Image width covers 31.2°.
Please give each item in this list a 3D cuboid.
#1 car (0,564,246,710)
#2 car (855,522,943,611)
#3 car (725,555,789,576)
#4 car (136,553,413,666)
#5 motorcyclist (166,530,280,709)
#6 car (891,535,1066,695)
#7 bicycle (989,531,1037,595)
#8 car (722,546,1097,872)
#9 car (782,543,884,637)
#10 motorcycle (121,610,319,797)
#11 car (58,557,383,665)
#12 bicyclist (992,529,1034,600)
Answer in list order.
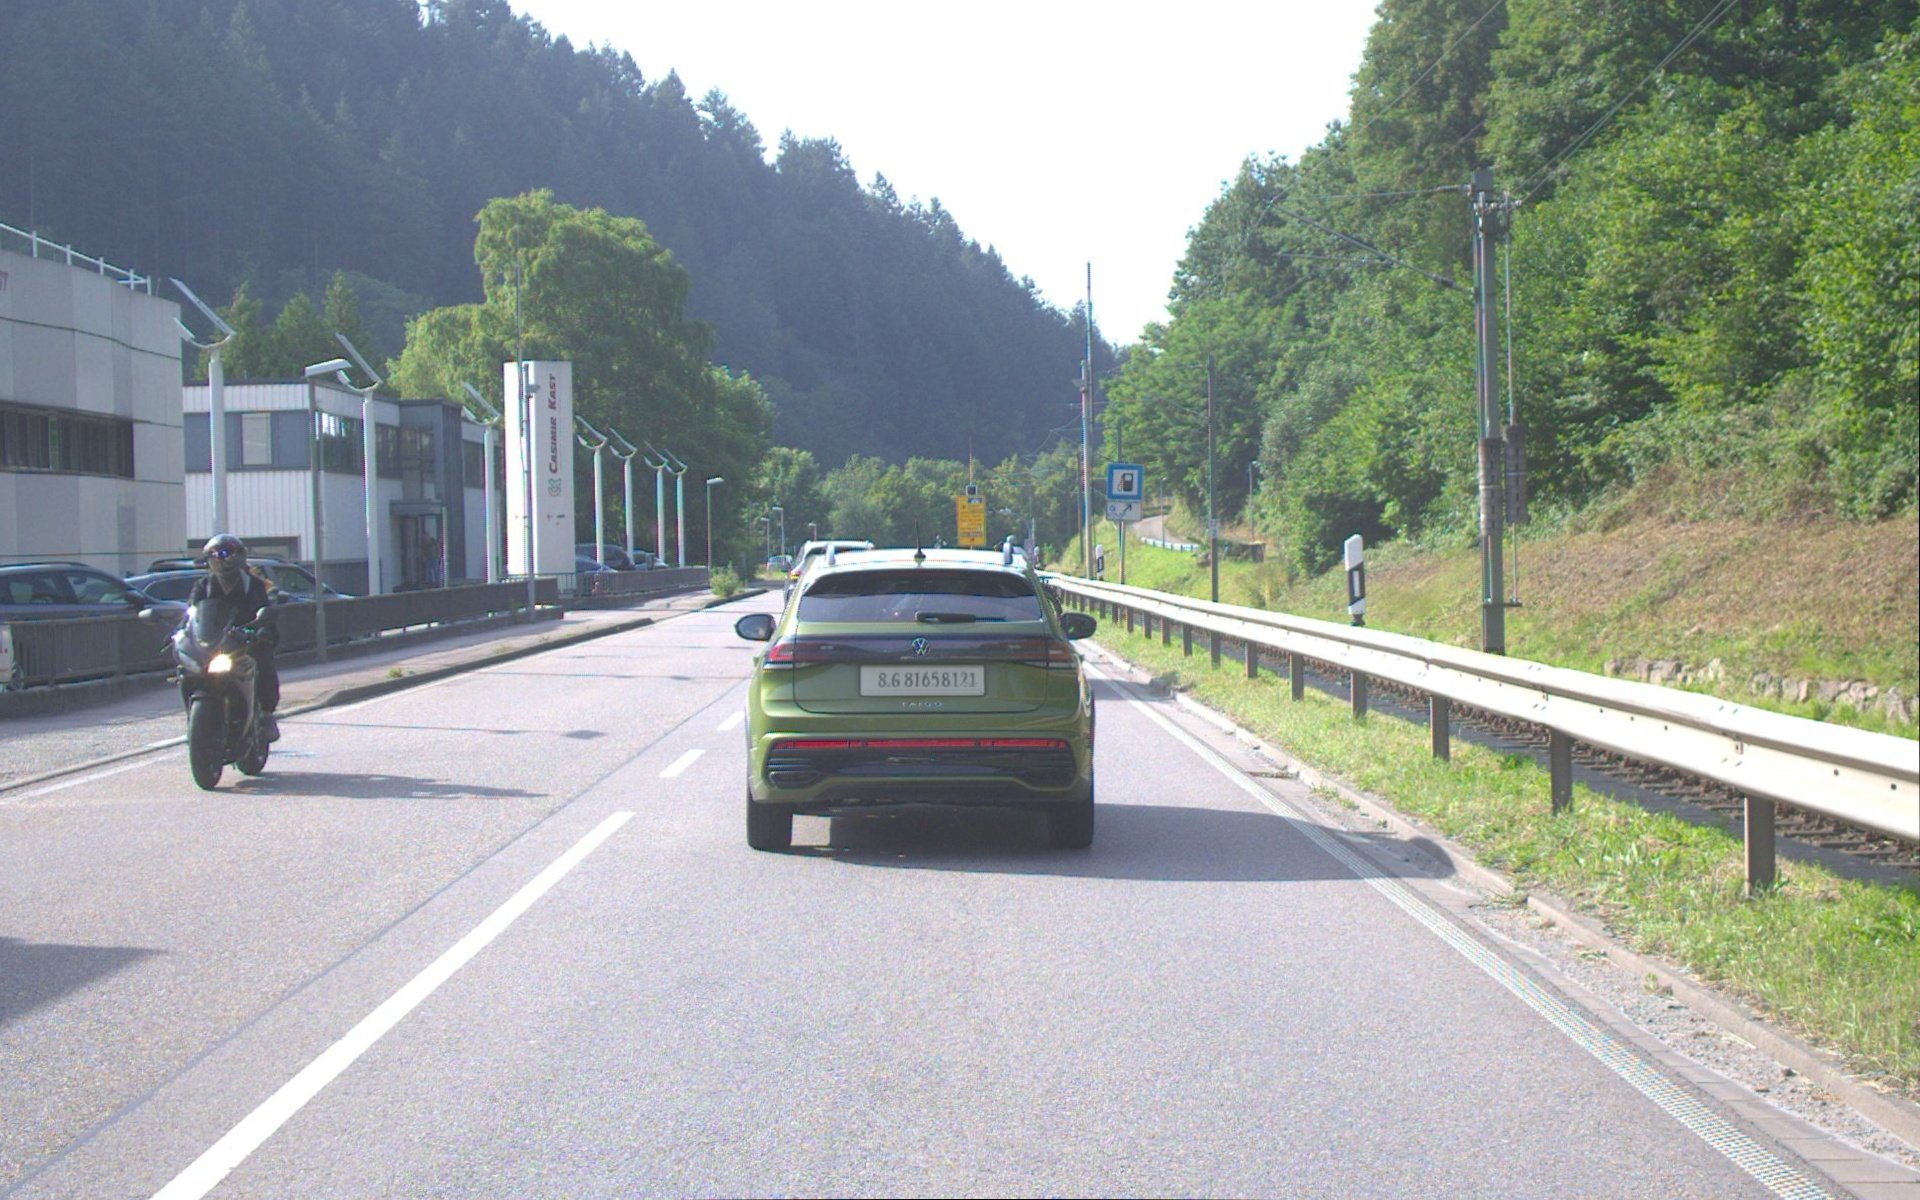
[{"bbox_3d":[-10.579,0.401,39.932,1.887,1.586,4.165,0,1,41],"label":"car"},{"bbox_3d":[-1.415,-0.803,80.755,1.993,2.007,4.000,-1,1,-1],"label":"car"},{"bbox_3d":[-14.035,-2.378,237.773,4.259,1.428,1.557,-1,1,1],"label":"car"},{"bbox_3d":[-10.988,0.123,55.283,1.780,1.702,4.101,0,1,41],"label":"car"},{"bbox_3d":[-4.707,0.116,21.989,0.586,1.121,0.637,-1,1,-1],"label":"motorcyclist"},{"bbox_3d":[0.147,0.118,36.538,1.739,1.596,4.000,0,1,-1],"label":"car"},{"bbox_3d":[1.046,-0.742,68.509,0.811,1.246,2.123,-1,1,-2],"label":"bicycle"},{"bbox_3d":[-0.282,0.478,18.042,1.739,1.503,4.000,0,1,-1],"label":"car"},{"bbox_3d":[-2.223,-0.201,60.855,1.739,1.596,4.000,0,1,-1],"label":"car"},{"bbox_3d":[-4.684,0.627,21.934,0.741,1.065,2.492,-1,1,-1],"label":"motorcycle"},{"bbox_3d":[-10.976,0.134,51.259,1.887,1.490,4.478,0,1,41],"label":"car"},{"bbox_3d":[1.050,-0.710,68.570,0.781,1.407,0.675,-1,1,-2],"label":"bicyclist"}]
